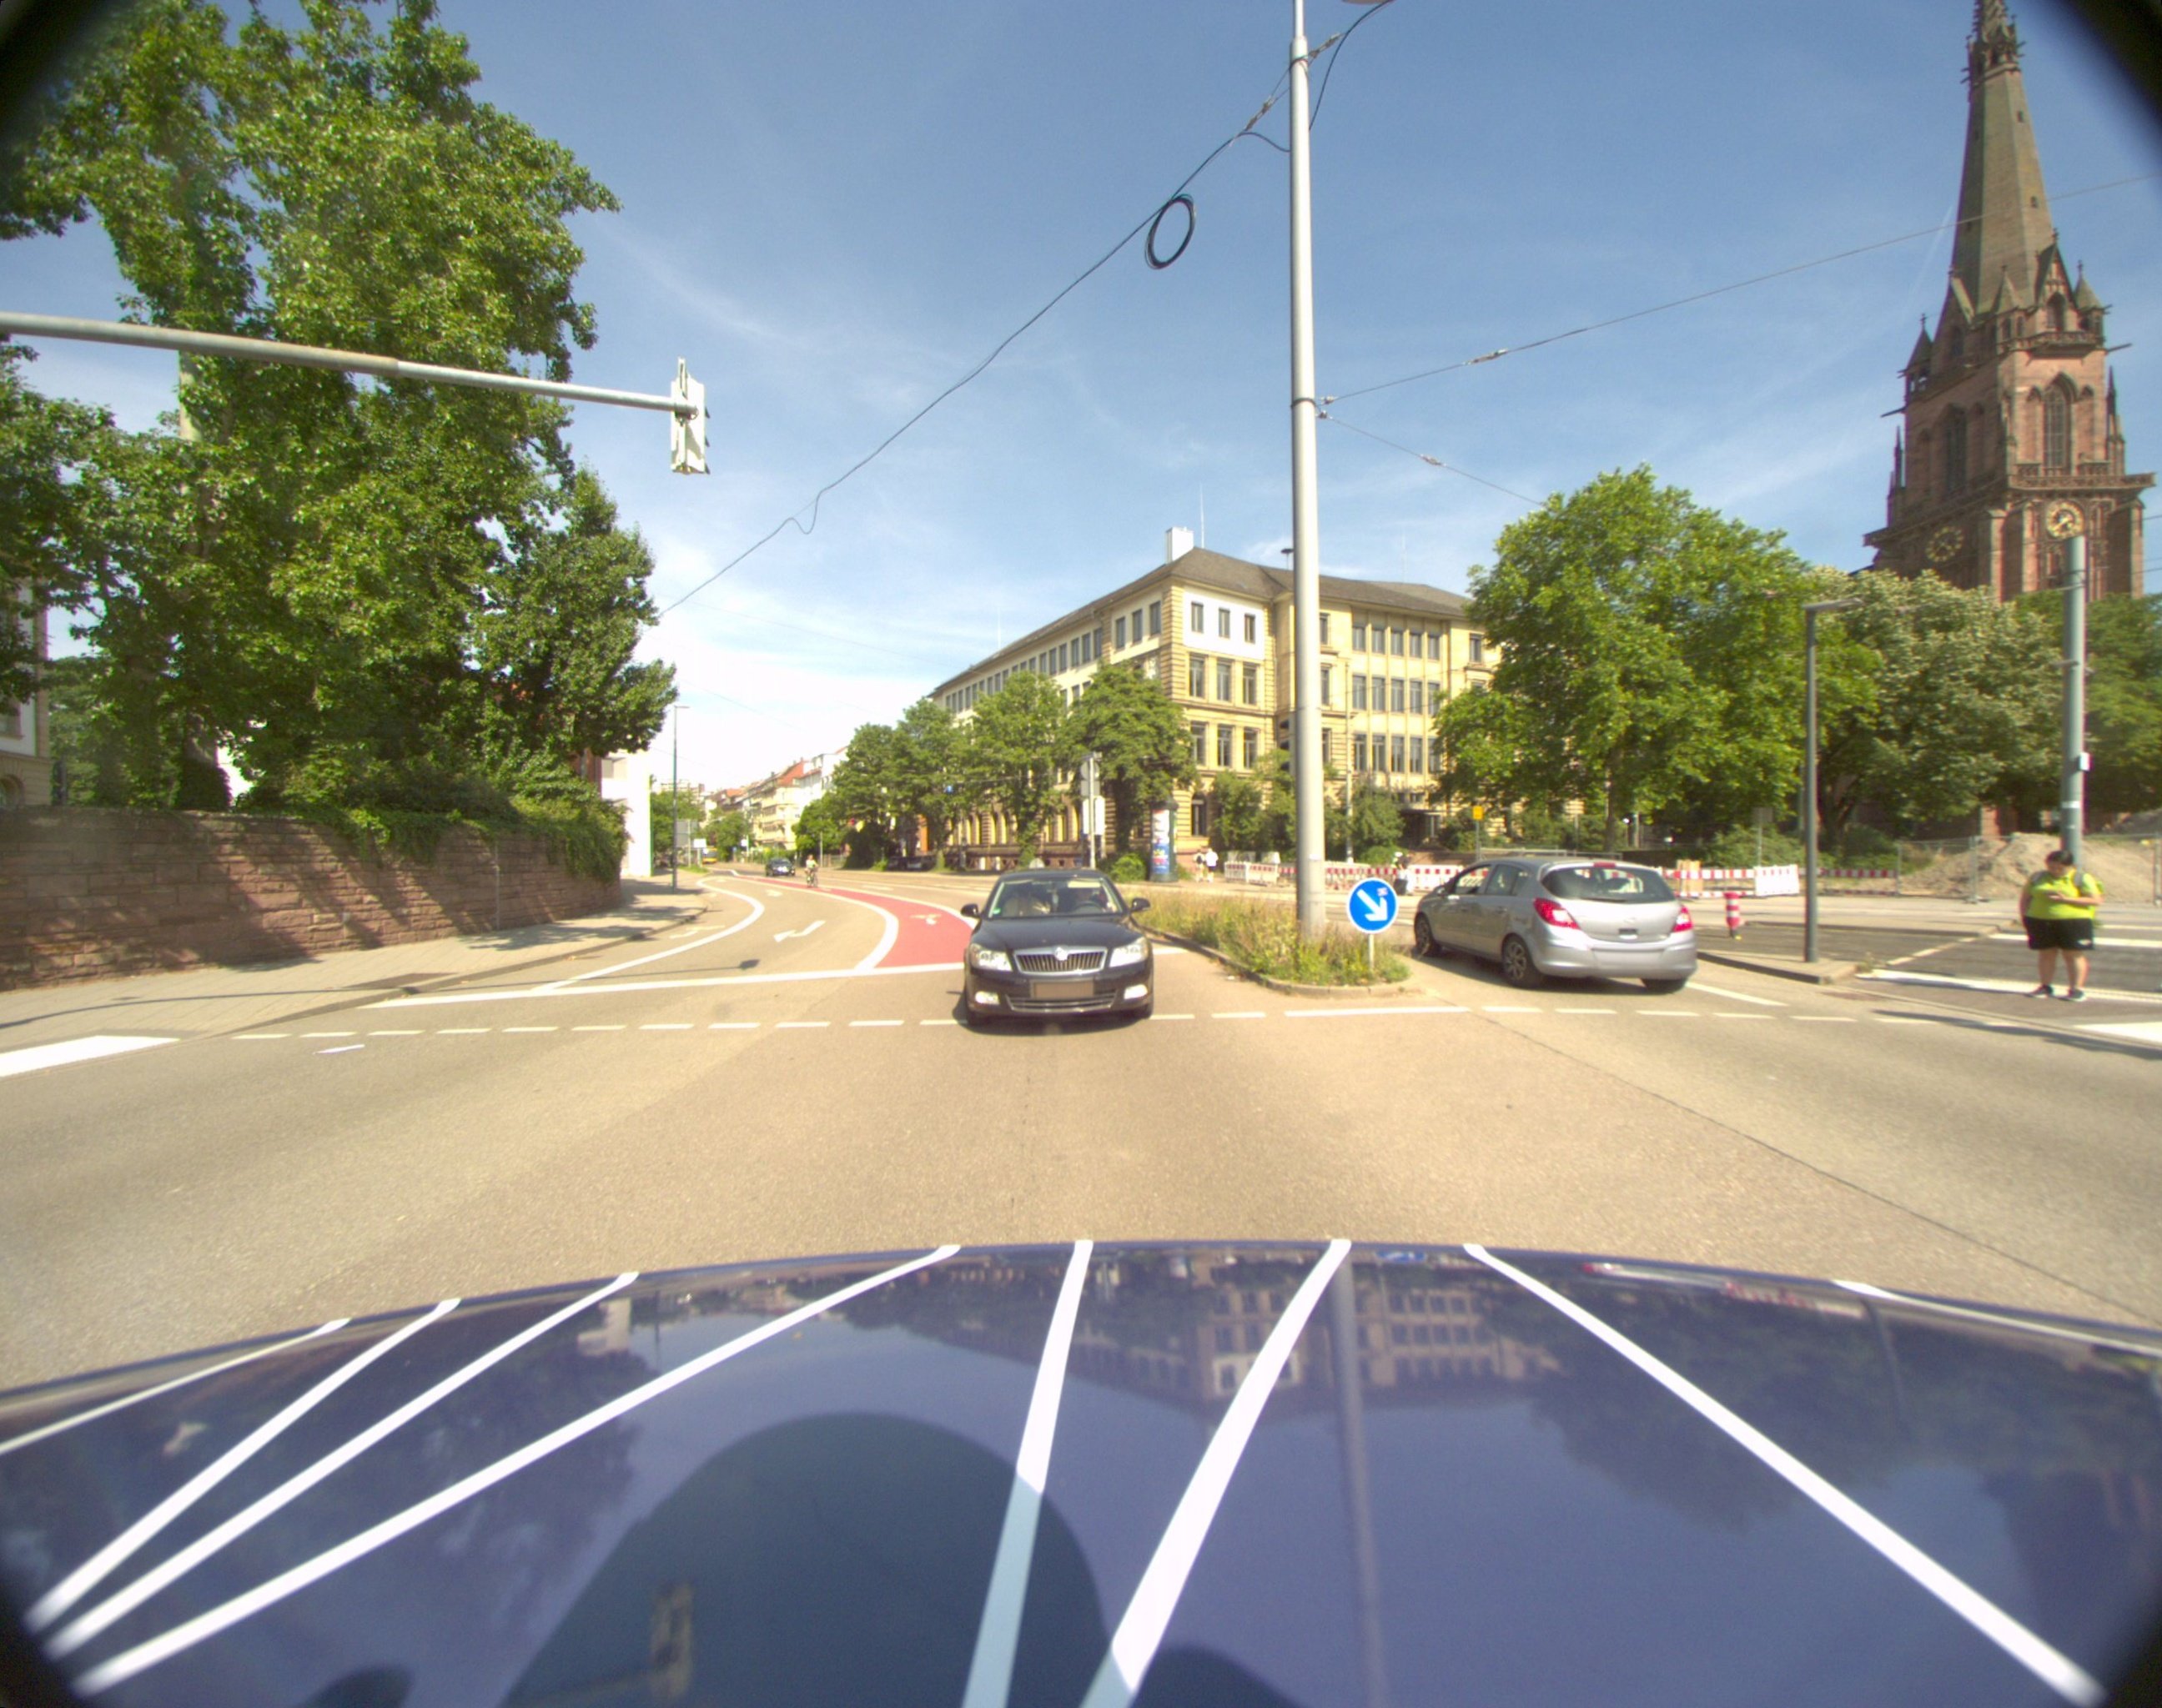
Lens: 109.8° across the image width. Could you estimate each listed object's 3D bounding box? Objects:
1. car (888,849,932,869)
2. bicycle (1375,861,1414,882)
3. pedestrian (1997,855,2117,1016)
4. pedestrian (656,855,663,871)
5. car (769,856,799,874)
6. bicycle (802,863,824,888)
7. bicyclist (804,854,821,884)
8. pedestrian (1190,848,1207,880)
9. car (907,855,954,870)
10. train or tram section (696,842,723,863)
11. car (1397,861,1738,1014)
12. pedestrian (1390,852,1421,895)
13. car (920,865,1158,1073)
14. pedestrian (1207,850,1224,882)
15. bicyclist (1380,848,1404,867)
[{"bbox_3d":[-17.710,0.518,78.718,4.007,2.002,1.995,0,0,-33],"label":"car"},{"bbox_3d":[15.415,0.851,37.423,0.703,0.941,1.661,-1,1,-37],"label":"bicycle"},{"bbox_3d":[9.868,0.798,7.706,0.424,1.534,0.666,-4,1,-44],"label":"pedestrian"},{"bbox_3d":[-41.573,0.862,74.917,0.550,1.559,0.929,-1,1,-33],"label":"pedestrian"},{"bbox_3d":[-24.132,0.875,61.659,1.805,1.368,4.266,-2,1,-28],"label":"car"},{"bbox_3d":[-14.013,1.118,39.748,0.687,1.215,2.181,-1,1,-30],"label":"bicycle"},{"bbox_3d":[-14.041,0.767,39.746,0.589,1.539,0.929,-3,2,-29],"label":"bicyclist"},{"bbox_3d":[6.467,0.560,41.731,0.743,1.739,0.586,0,1,31],"label":"pedestrian"},{"bbox_3d":[-14.678,0.800,74.137,4.007,1.455,1.995,0,0,-33],"label":"car"},{"bbox_3d":[-72.837,-0.317,148.646,3.221,3.838,14.550,-1,0,-32],"label":"train or tram section"},{"bbox_3d":[5.577,0.837,9.429,1.798,1.403,4.001,1,0,3],"label":"car"},{"bbox_3d":[12.590,0.740,29.474,0.939,1.646,0.845,0,1,11],"label":"pedestrian"},{"bbox_3d":[-0.402,0.937,8.402,1.864,1.510,4.825,0,1,-2],"label":"car"},{"bbox_3d":[7.412,0.635,41.797,0.743,1.739,0.586,0,1,35],"label":"pedestrian"},{"bbox_3d":[15.355,0.170,37.490,0.684,0.921,0.867,-1,1,-36],"label":"bicyclist"}]
